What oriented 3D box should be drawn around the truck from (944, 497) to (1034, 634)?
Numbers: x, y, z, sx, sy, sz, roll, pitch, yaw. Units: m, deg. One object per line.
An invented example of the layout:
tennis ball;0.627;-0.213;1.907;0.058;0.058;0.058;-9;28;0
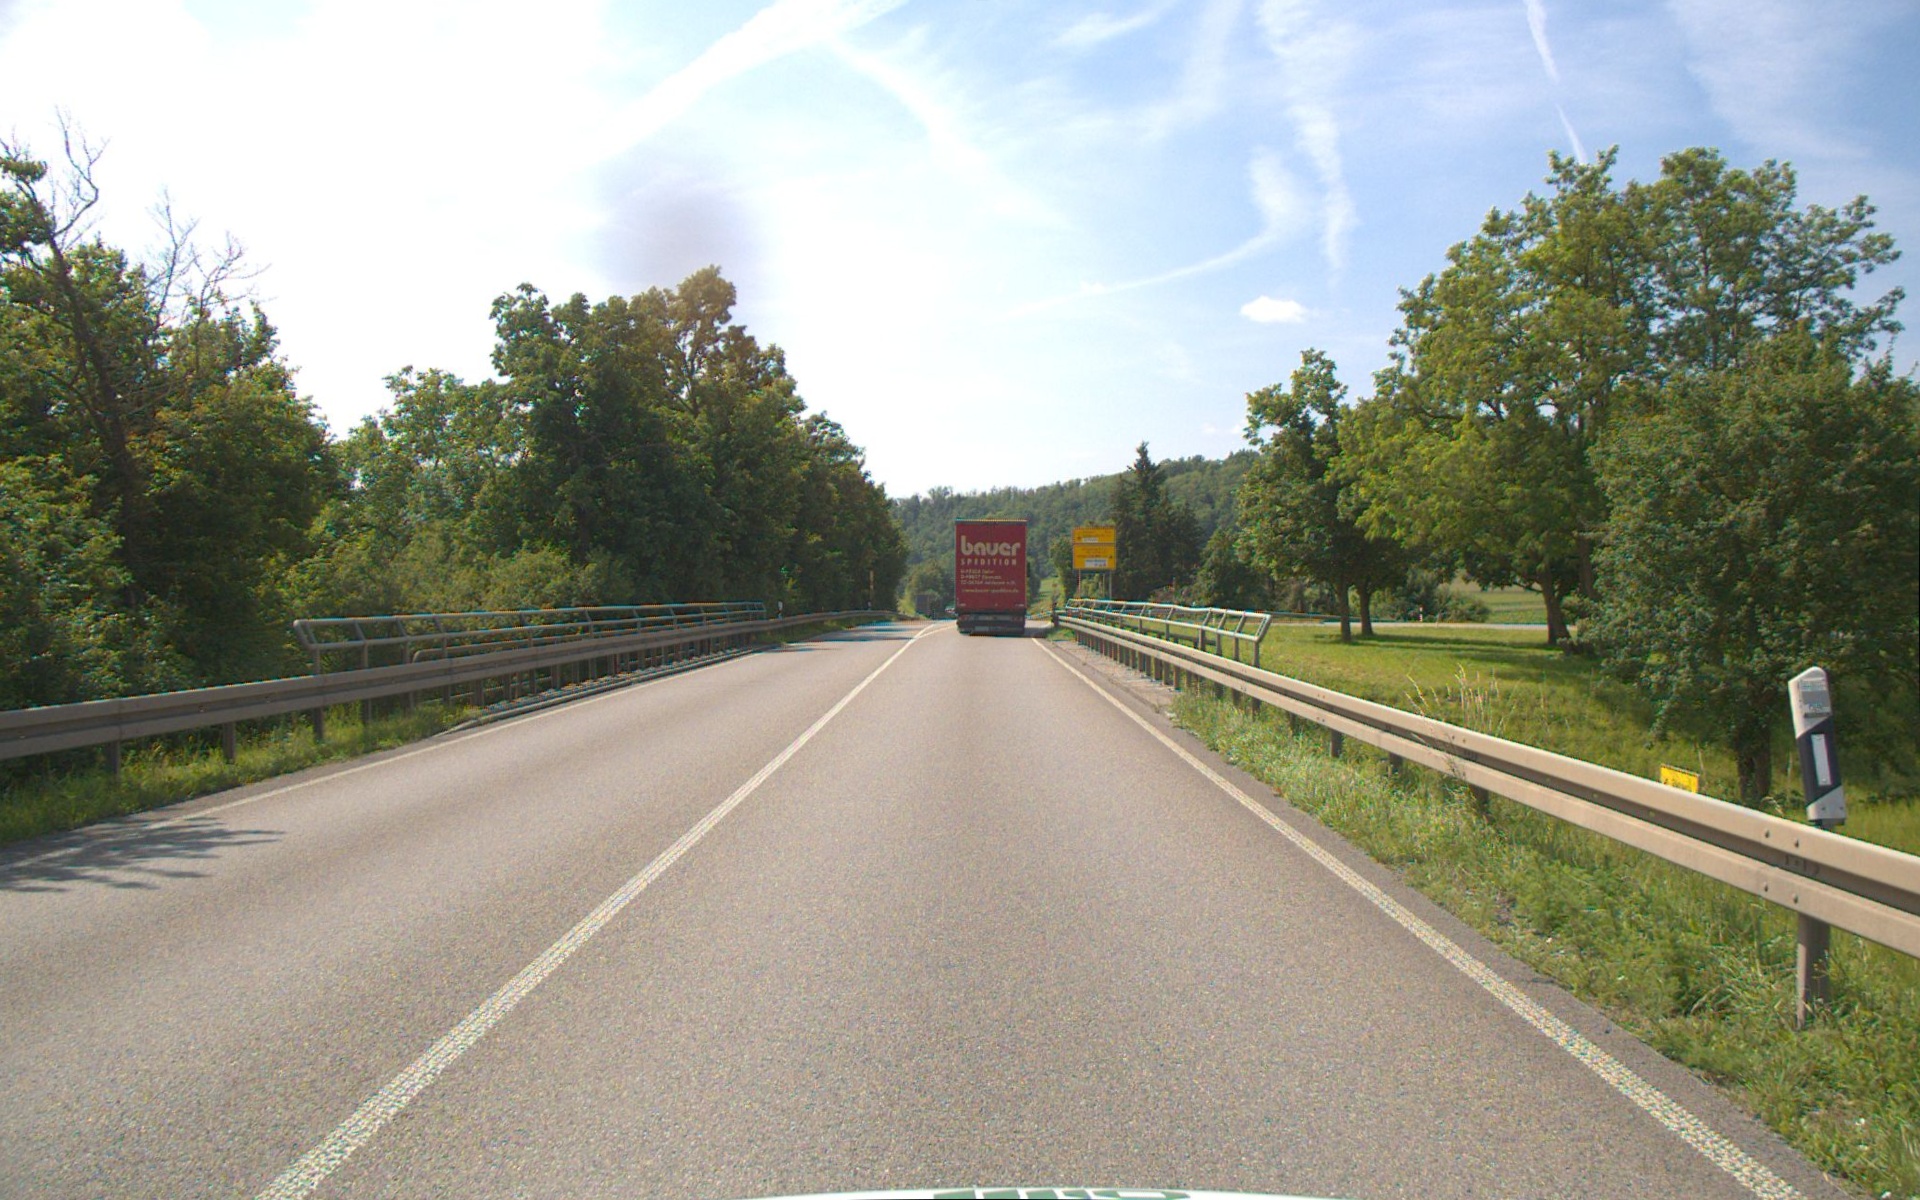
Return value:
truck;1.150;-1.247;64.004;3.107;4.706;13.546;0;0;1
